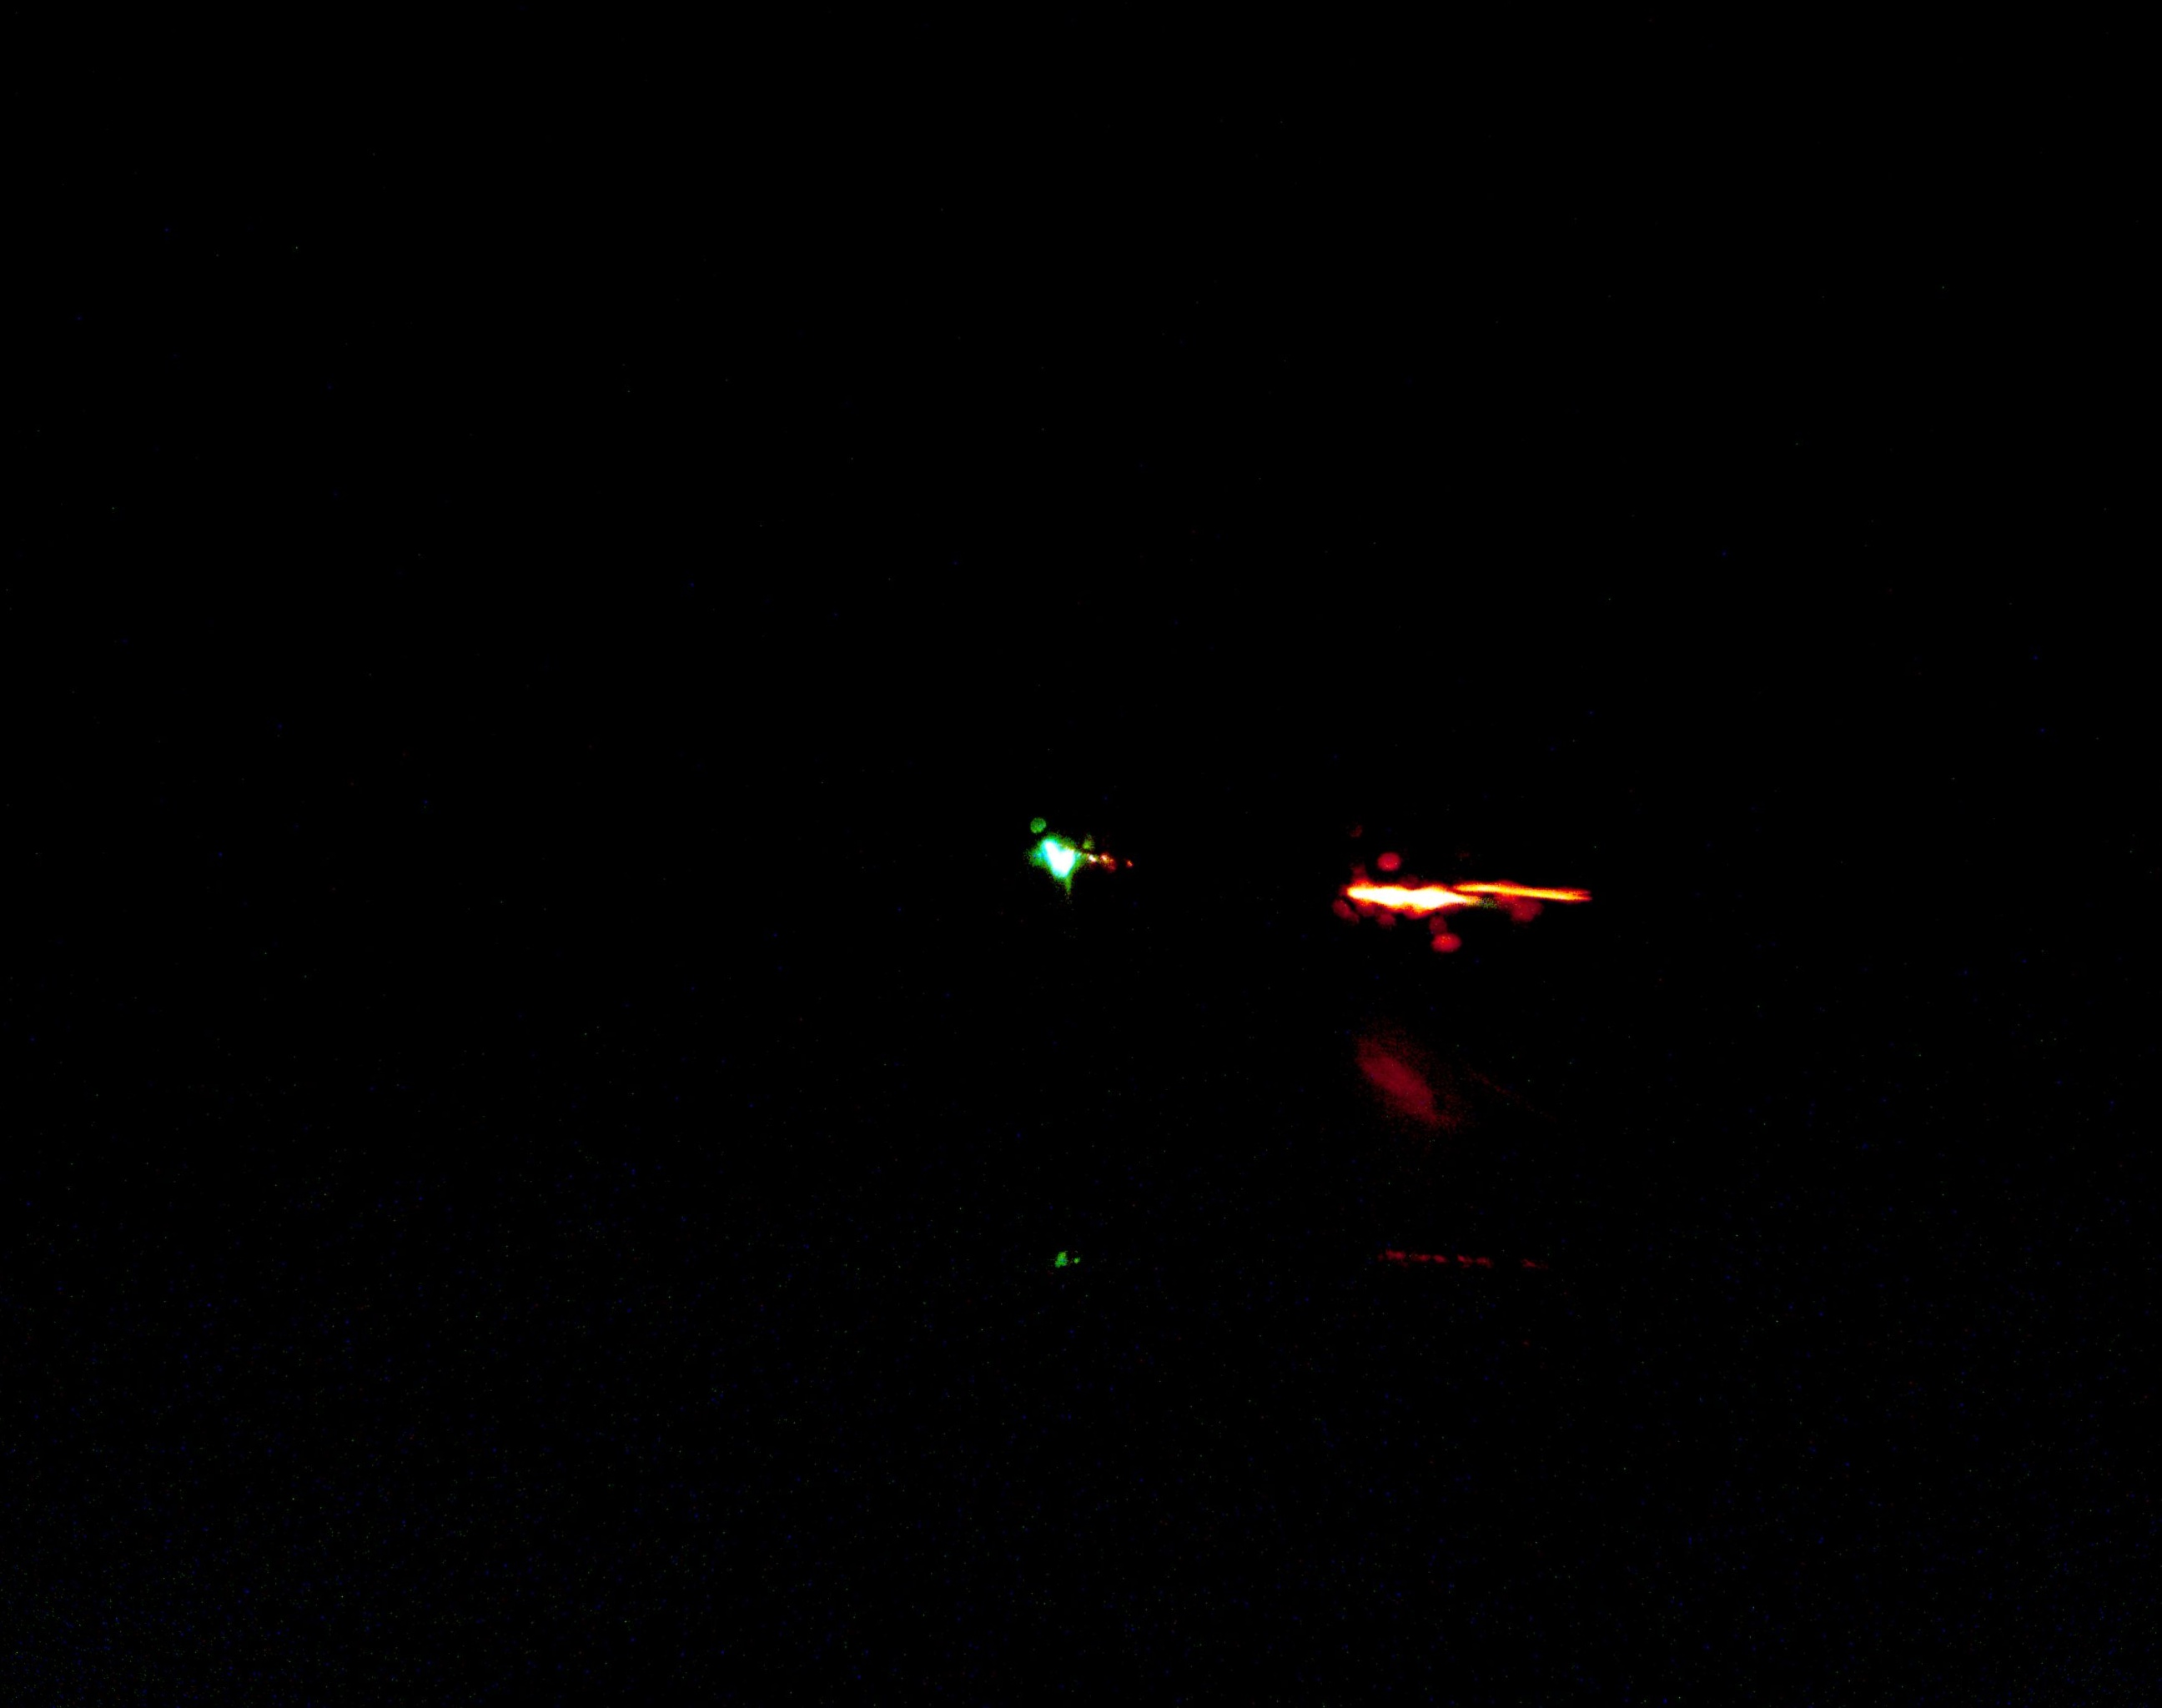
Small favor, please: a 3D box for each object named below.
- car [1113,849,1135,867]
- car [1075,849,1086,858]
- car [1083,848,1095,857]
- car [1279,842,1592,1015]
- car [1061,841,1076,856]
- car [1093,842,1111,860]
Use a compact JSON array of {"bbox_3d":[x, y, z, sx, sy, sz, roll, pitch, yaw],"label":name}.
[{"bbox_3d":[3.599,0.288,63.664,1.600,1.394,3.468,0,1,-1],"label":"car"},{"bbox_3d":[-0.142,-0.103,148.027,1.999,1.652,3.998,0,1,-2],"label":"car"},{"bbox_3d":[1.259,-0.236,125.567,1.824,1.433,3.998,0,1,-2],"label":"car"},{"bbox_3d":[3.946,0.710,9.337,1.998,1.615,4.000,-2,0,1],"label":"car"},{"bbox_3d":[-1.758,-0.757,104.700,1.999,2.002,3.998,0,1,-2],"label":"car"},{"bbox_3d":[2.346,-0.344,85.371,1.808,1.917,3.998,0,2,-1],"label":"car"}]
